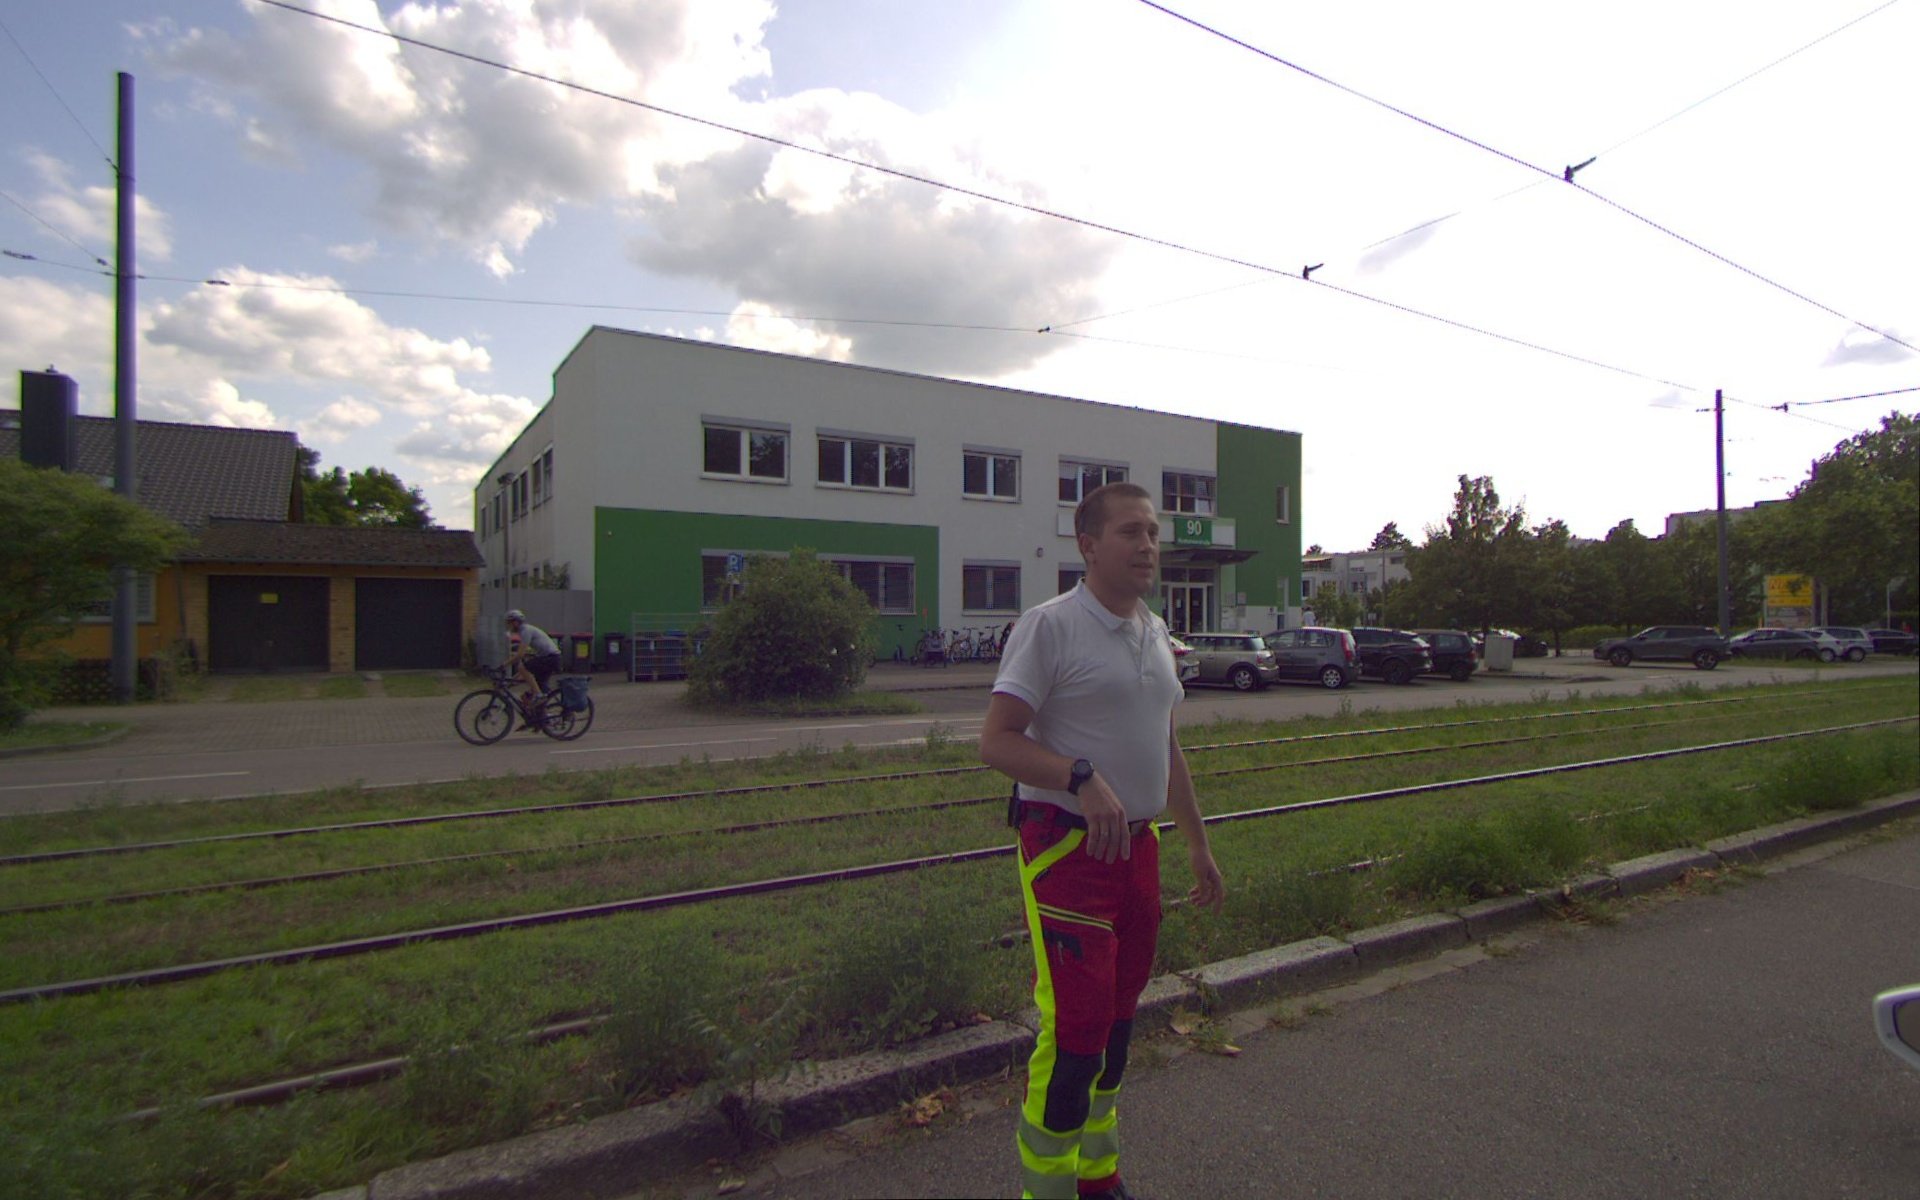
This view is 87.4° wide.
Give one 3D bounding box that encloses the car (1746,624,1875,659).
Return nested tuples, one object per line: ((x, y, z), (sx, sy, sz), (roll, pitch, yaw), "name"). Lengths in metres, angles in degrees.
((39.385, 1.897, 46.633), (4.154, 1.501, 1.882), (1, -1, 23), "car")

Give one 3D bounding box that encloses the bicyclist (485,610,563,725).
((-5.819, 0.884, 13.398), (0.916, 1.477, 0.621), (1, -1, -27), "bicyclist")

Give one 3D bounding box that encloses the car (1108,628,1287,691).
((6.109, 1.488, 25.933), (4.160, 1.501, 1.880), (-1, -2, 30), "car")

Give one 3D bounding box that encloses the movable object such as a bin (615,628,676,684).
((-7.561, 1.332, 24.134), (1.241, 1.251, 1.001), (0, 1, -29), "movable object such as a bin")

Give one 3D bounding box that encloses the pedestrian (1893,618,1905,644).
((61.752, 2.014, 66.053), (0.597, 1.699, 0.463), (1, -1, -33), "pedestrian")

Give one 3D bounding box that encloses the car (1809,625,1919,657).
((46.174, 2.061, 51.086), (4.151, 1.501, 1.883), (1, -1, 19), "car")

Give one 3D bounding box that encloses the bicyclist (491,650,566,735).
((-6.021, 1.268, 14.014), (0.916, 1.127, 0.637), (1, -1, -27), "bicyclist")

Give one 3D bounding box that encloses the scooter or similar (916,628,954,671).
((-0.755, 1.440, 29.645), (1.073, 1.171, 1.306), (2, 0, -2), "scooter or similar")

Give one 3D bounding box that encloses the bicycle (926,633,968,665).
((-0.440, 1.523, 31.710), (0.453, 0.911, 1.848), (2, 0, -30), "bicycle")

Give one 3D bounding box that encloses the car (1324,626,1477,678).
((13.553, 1.553, 30.938), (4.160, 1.501, 1.880), (-1, -2, 30), "car")

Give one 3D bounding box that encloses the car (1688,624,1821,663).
((34.372, 1.851, 43.589), (4.154, 1.501, 1.882), (1, -1, 23), "car")

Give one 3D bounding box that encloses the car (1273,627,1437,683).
((11.353, 1.536, 28.891), (4.160, 1.501, 1.880), (-1, -2, 30), "car")

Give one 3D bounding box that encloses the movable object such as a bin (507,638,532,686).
((-10.141, 1.424, 23.135), (0.476, 1.056, 0.502), (0, 1, -31), "movable object such as a bin")

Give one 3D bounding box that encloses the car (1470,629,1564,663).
((29.187, 2.397, 52.764), (1.755, 1.586, 3.970), (2, 0, -28), "car")

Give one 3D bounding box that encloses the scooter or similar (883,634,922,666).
((-1.785, 1.534, 31.021), (0.453, 0.911, 1.726), (2, 0, -30), "scooter or similar")

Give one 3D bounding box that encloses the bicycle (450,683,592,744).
((-6.095, 1.562, 13.981), (1.781, 0.727, 0.643), (1, -1, -27), "bicycle")

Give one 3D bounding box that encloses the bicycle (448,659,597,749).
((-5.815, 1.353, 13.393), (1.781, 1.094, 0.643), (1, -1, -27), "bicycle")

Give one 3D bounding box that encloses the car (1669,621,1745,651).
((48.512, 2.319, 65.356), (1.960, 1.773, 4.000), (1, 0, 0), "car")

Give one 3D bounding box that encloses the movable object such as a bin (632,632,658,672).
((-8.556, 1.408, 27.252), (0.558, 1.056, 0.565), (0, 1, -31), "movable object such as a bin")

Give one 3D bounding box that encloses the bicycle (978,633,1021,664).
((1.268, 1.581, 32.795), (0.453, 0.911, 1.848), (2, 0, -30), "bicycle")

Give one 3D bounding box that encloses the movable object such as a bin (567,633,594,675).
((-9.970, 1.406, 26.381), (0.558, 1.056, 0.565), (0, 1, -31), "movable object such as a bin")

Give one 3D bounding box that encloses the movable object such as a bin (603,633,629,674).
((-9.216, 1.414, 26.878), (0.558, 1.056, 0.565), (0, 1, -31), "movable object such as a bin")

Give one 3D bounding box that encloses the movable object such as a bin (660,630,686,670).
((-7.894, 1.378, 27.643), (0.558, 1.056, 0.565), (0, 1, -31), "movable object such as a bin")

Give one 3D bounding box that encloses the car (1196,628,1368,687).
((8.732, 1.520, 27.334), (4.160, 1.501, 1.880), (-1, -2, 30), "car")

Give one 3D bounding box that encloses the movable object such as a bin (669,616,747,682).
((-6.246, 1.190, 24.895), (1.691, 1.540, 1.001), (0, 1, -29), "movable object such as a bin")

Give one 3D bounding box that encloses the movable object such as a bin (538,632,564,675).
((-10.579, 1.376, 25.979), (0.558, 1.056, 0.565), (0, 1, -31), "movable object such as a bin")

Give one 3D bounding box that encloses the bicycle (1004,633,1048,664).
((2.178, 1.603, 33.307), (0.453, 0.911, 1.848), (2, 0, -30), "bicycle")

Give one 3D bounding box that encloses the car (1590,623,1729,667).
((26.190, 1.651, 37.749), (4.164, 1.501, 1.878), (1, -1, 34), "car")

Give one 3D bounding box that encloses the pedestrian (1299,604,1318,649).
((14.561, 1.099, 41.998), (0.503, 1.852, 0.543), (1, -1, -33), "pedestrian")

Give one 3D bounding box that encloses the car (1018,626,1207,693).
((3.674, 1.388, 24.273), (4.155, 1.501, 1.882), (-1, -2, 25), "car")

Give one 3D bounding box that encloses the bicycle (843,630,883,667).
((-2.920, 1.438, 30.043), (0.453, 0.999, 1.848), (2, 0, -30), "bicycle")

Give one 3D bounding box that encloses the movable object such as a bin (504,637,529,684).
((-10.421, 1.418, 23.616), (0.474, 1.056, 0.491), (0, 1, -31), "movable object such as a bin")

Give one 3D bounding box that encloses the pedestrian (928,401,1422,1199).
((0.406, 0.517, 2.257), (0.792, 1.709, 0.849), (1, -1, -13), "pedestrian")

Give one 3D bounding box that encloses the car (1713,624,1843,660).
((36.726, 1.859, 45.256), (4.154, 1.501, 1.882), (1, -1, 23), "car")

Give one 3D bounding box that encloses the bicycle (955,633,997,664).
((0.507, 1.555, 32.332), (0.453, 0.911, 1.848), (2, 0, -30), "bicycle")
